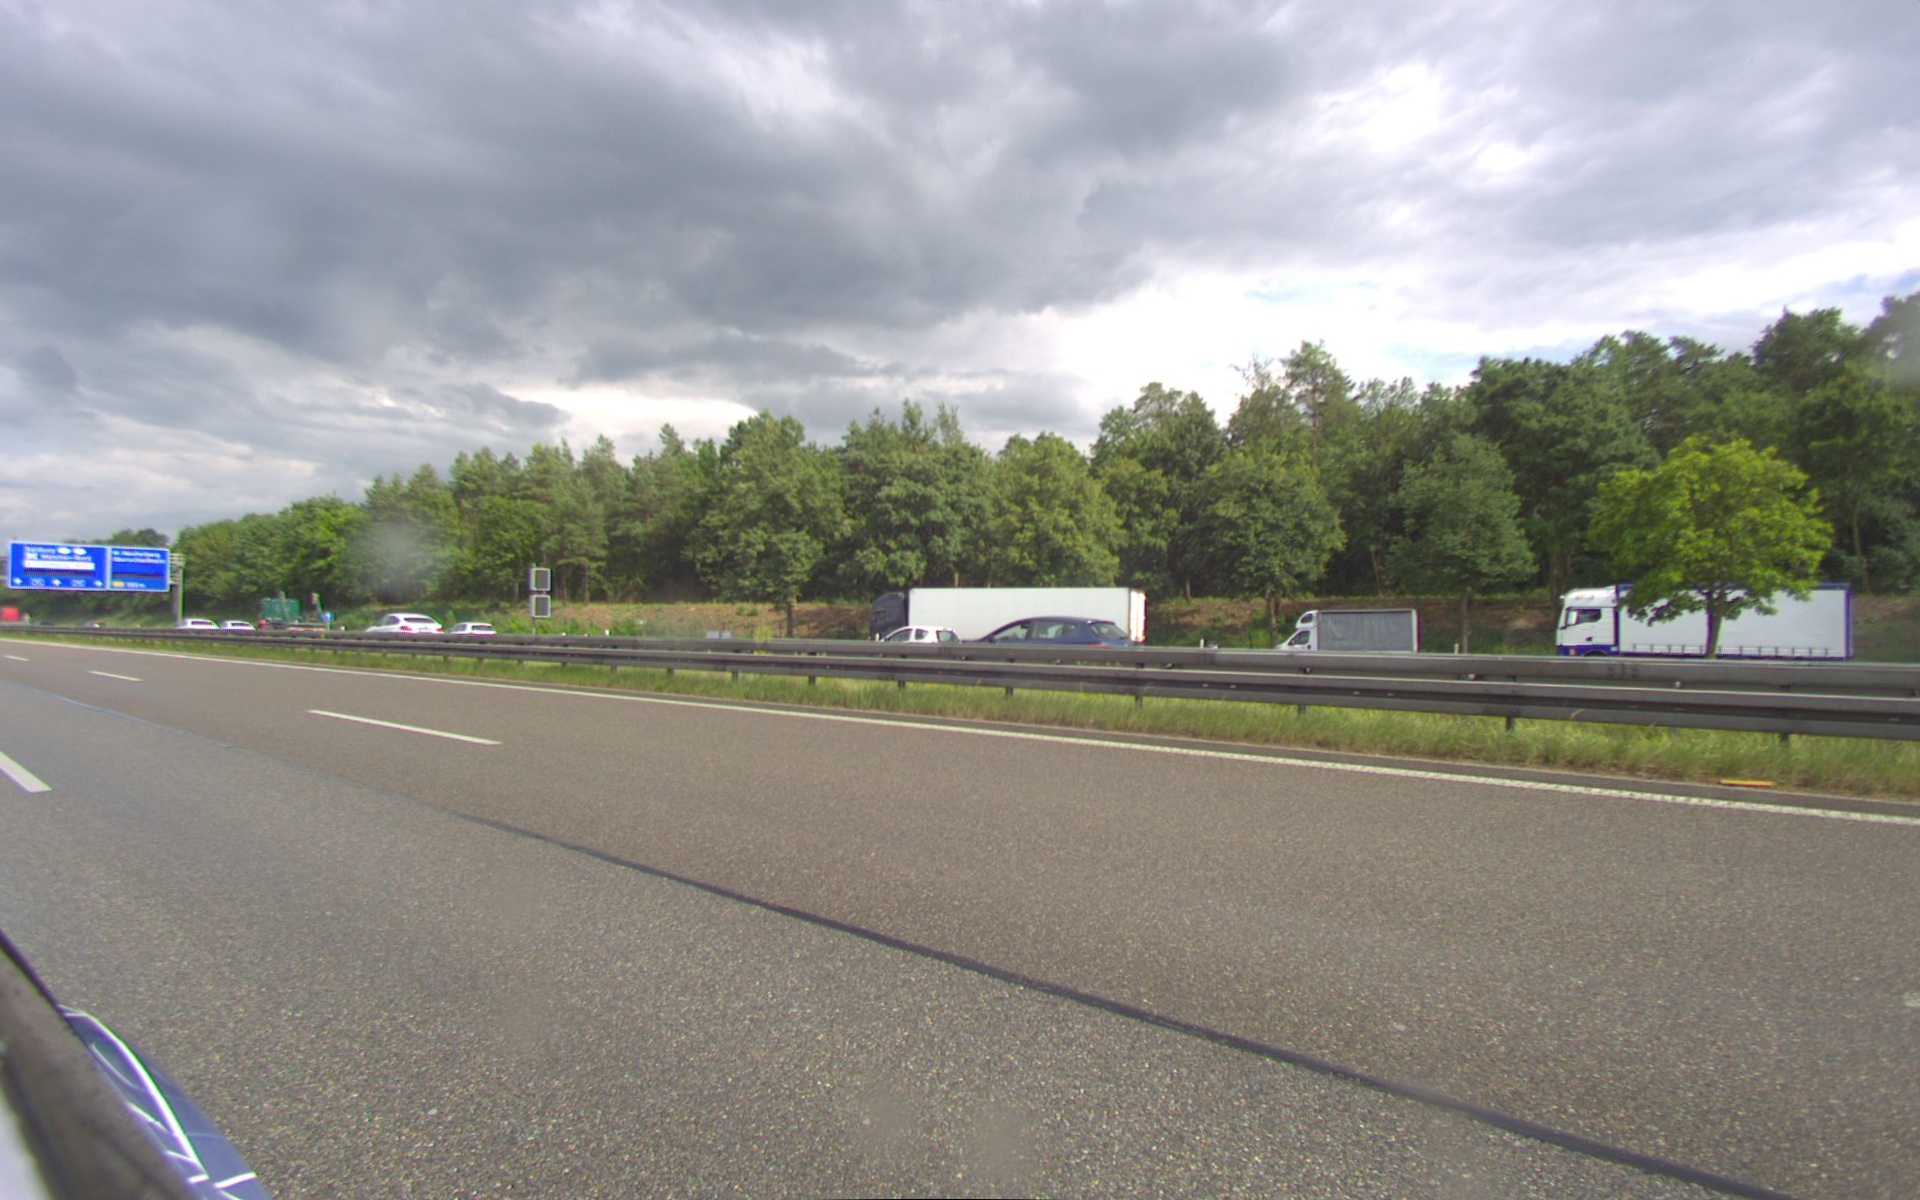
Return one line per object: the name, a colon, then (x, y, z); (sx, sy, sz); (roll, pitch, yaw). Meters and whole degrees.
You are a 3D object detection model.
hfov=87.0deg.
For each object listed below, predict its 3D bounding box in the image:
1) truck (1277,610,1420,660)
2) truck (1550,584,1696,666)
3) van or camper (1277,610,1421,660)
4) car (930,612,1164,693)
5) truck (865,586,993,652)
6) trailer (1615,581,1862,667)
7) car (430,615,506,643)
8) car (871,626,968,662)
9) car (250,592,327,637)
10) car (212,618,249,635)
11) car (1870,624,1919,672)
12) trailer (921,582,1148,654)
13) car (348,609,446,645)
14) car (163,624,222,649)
truck: (18.843, 1.646, 49.206); (6.290, 2.282, 2.105); (-1, 0, 28)
truck: (28.249, 1.031, 43.388); (5.068, 3.292, 2.635); (-1, 0, 31)
van or camper: (18.873, 1.645, 49.189); (6.295, 2.282, 2.105); (-1, 0, 28)
car: (1.639, 0.959, 20.120); (4.431, 1.403, 1.811); (-1, 0, 41)
truck: (-1.846, 1.084, 59.684); (6.882, 3.732, 3.188); (-1, 0, 27)
trailer: (31.520, 0.982, 41.459); (7.715, 3.257, 2.560); (-1, -1, 32)
car: (-27.083, 1.545, 55.648); (5.156, 1.403, 1.953); (-1, 0, 41)
car: (-1.366, 1.442, 33.514); (3.113, 1.065, 1.430); (-1, 0, 41)
car: (-49.770, 1.047, 74.909); (7.340, 3.133, 2.913); (-1, 0, 41)
car: (-50.657, 1.821, 70.261); (3.113, 1.065, 1.430); (-1, 0, 41)
car: (43.845, 2.112, 43.986); (6.115, 2.029, 1.978); (-1, 0, 33)
trailer: (3.977, 1.034, 56.669); (12.509, 3.767, 3.184); (-1, -2, 28)
car: (-23.546, 1.089, 42.241); (5.418, 1.403, 1.879); (-1, 0, 41)
car: (-48.206, 2.268, 63.533); (5.418, 1.403, 1.879); (-1, 0, 41)
